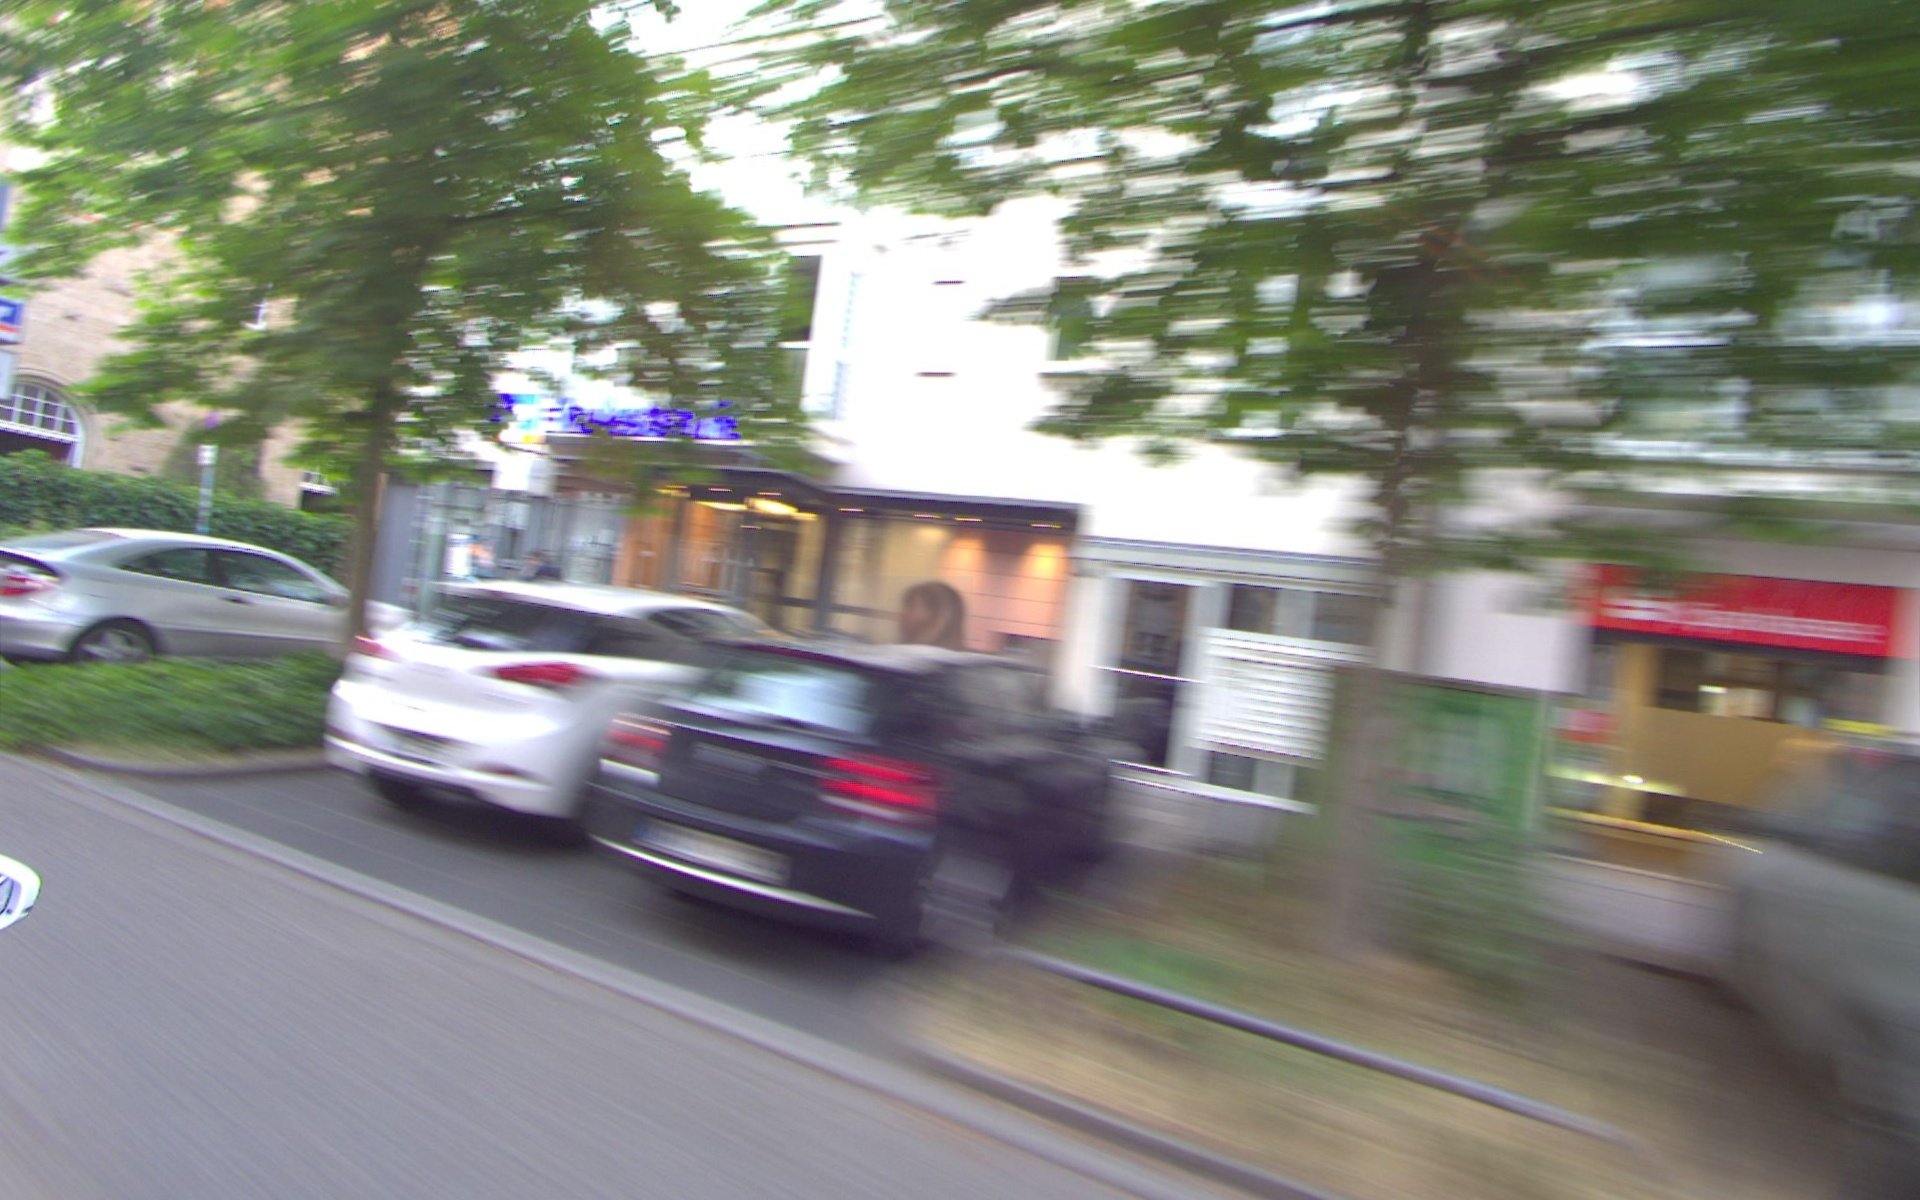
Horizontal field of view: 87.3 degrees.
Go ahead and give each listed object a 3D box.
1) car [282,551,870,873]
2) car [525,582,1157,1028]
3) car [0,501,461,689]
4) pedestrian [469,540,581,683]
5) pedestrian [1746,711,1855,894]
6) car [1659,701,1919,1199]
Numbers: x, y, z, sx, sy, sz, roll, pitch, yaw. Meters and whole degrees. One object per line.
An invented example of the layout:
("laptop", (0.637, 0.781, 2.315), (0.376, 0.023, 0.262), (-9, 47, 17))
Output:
("car", (-2.317, 0.643, 7.188), (1.703, 1.470, 3.805), (8, 0, 21))
("car", (-0.243, 0.897, 5.937), (1.795, 1.473, 3.999), (7, -1, 24))
("car", (-7.574, -0.002, 10.192), (1.850, 1.470, 4.094), (7, 0, 28))
("pedestrian", (-5.708, 0.154, 13.212), (0.945, 1.737, 0.729), (7, 0, 20))
("pedestrian", (8.792, 2.085, 10.549), (0.577, 1.772, 0.628), (6, -2, 21))
("car", (4.571, 1.441, 4.292), (1.715, 1.667, 4.410), (7, -1, 25))
